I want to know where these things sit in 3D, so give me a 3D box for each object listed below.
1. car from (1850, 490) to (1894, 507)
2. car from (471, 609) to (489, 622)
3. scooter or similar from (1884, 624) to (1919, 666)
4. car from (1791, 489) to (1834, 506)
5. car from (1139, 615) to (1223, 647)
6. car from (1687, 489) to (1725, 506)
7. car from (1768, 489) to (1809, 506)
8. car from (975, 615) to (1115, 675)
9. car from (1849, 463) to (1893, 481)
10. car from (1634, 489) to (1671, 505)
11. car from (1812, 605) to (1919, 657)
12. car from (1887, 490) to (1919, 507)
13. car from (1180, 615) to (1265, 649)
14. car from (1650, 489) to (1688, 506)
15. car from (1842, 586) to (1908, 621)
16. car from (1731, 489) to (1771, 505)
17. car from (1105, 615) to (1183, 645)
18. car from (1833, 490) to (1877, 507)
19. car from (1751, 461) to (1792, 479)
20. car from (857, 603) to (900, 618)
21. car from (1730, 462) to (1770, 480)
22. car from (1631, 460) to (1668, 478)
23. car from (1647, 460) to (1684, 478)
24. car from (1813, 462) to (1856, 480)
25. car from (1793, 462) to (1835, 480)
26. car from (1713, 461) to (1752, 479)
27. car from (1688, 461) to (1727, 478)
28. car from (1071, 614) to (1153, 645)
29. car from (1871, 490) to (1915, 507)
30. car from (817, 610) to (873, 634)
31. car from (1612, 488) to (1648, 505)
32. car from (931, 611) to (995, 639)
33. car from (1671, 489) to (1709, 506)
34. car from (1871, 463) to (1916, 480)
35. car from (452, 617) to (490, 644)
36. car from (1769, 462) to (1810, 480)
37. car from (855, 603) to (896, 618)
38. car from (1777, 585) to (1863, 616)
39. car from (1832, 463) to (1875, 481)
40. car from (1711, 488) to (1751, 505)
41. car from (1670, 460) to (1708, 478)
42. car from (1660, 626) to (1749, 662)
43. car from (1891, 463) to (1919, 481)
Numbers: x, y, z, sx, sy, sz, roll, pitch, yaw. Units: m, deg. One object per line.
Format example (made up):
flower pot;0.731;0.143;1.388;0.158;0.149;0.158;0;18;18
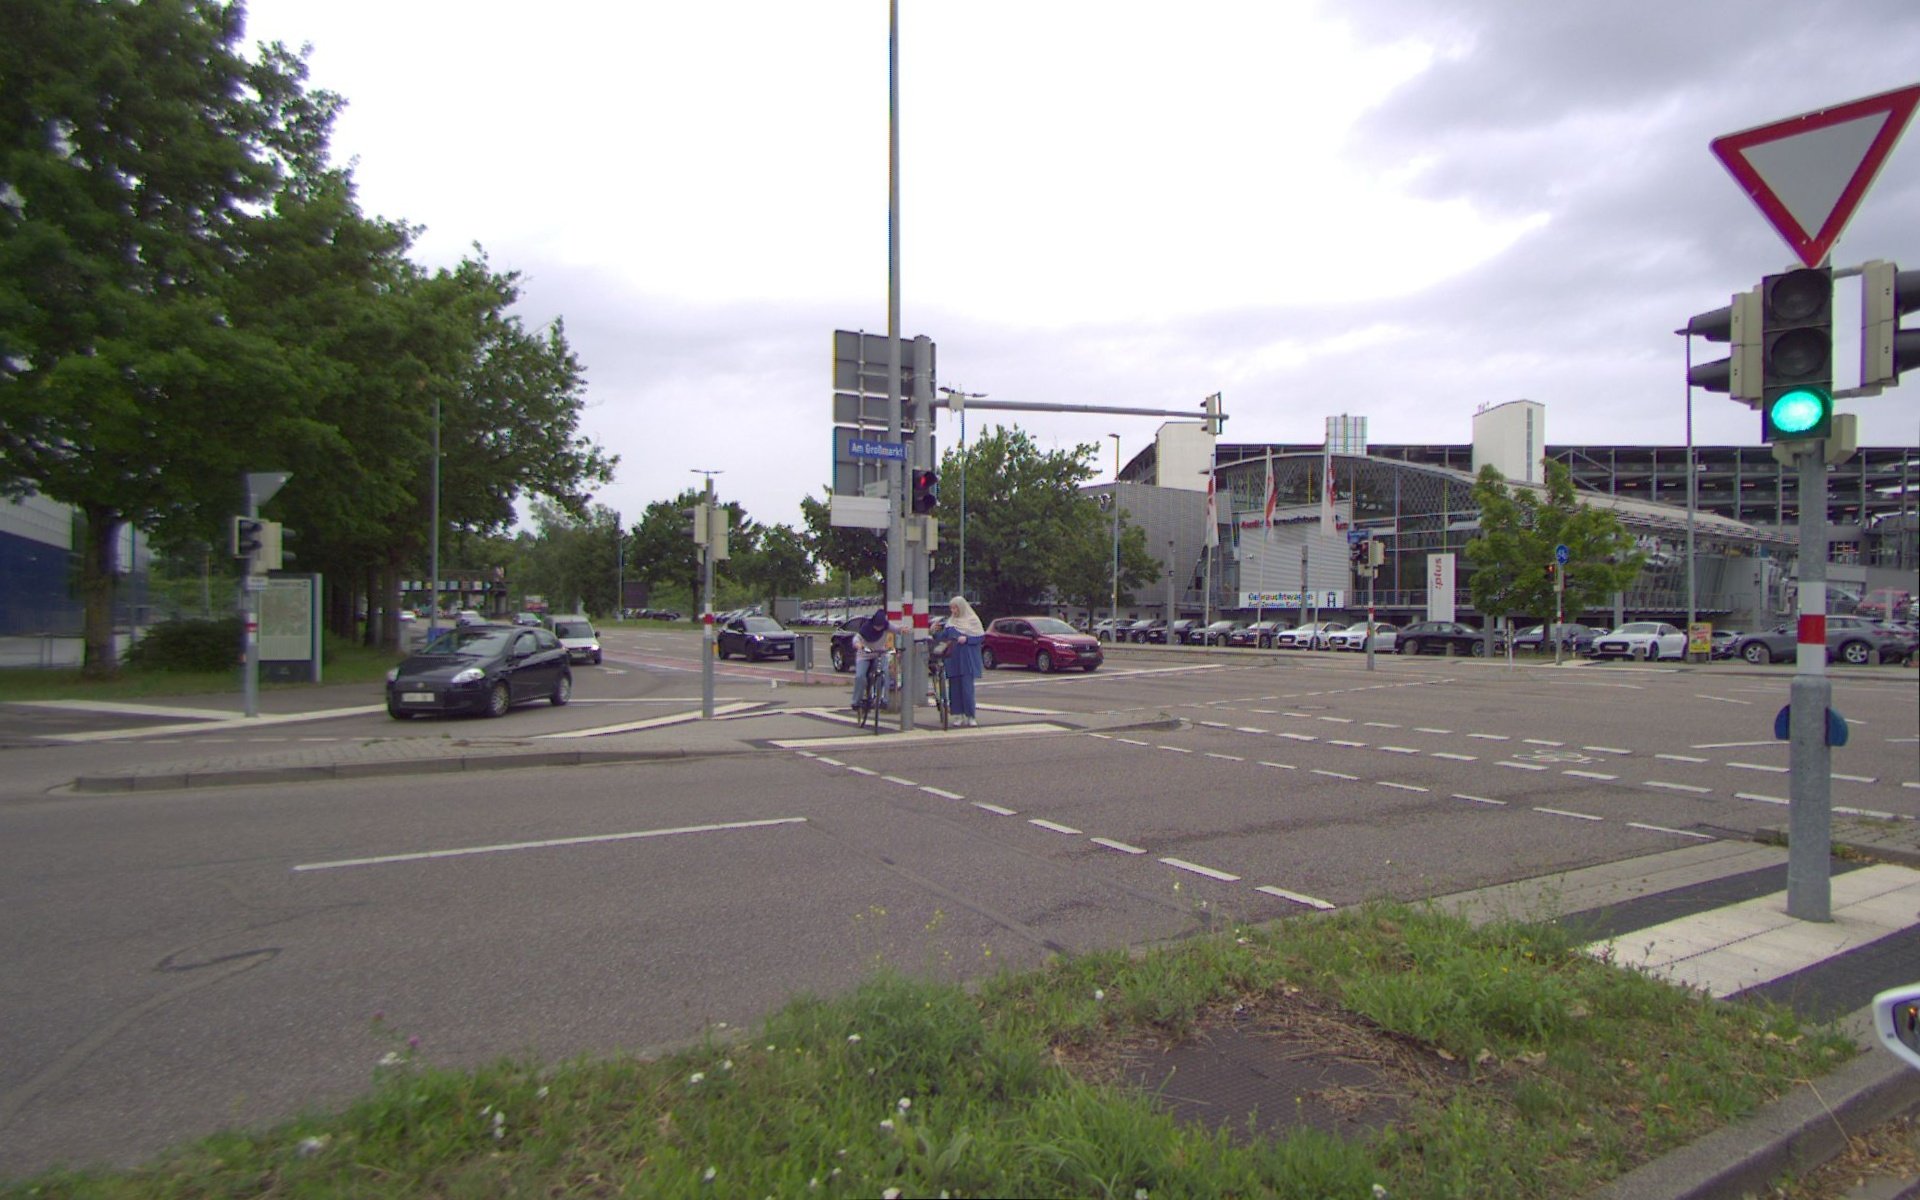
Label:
car;115.021;-12.789;126.678;1.960;1.689;4.001;1;0;2
car;-73.522;2.355;153.893;2.118;1.684;3.749;2;0;-31
scooter or similar;28.896;1.355;30.435;1.535;1.235;0.557;1;2;-17
car;107.421;-12.896;126.613;1.960;1.689;4.001;1;0;2
car;11.740;1.650;53.149;4.337;1.490;1.876;5;-3;-35
car;94.547;-13.007;127.328;1.960;1.689;4.001;1;0;2
car;104.449;-12.879;126.706;1.960;1.689;4.001;1;0;2
car;2.268;1.205;27.715;1.722;1.507;4.042;-1;-1;-33
car;115.251;-16.162;127.086;1.960;1.689;4.001;1;0;2
car;87.324;-12.982;126.736;1.960;1.689;4.001;1;0;2
car;38.099;1.291;40.985;1.981;2.040;4.740;2;-3;-36
car;119.989;-12.814;126.901;1.960;1.689;4.001;1;0;2
car;13.289;1.623;50.754;4.150;1.505;1.890;5;-3;-35
car;89.508;-12.900;126.870;1.960;1.689;4.001;1;0;2
car;53.156;0.204;58.340;3.959;1.873;1.981;2;0;-35
car;99.800;-12.982;126.794;1.960;1.689;4.001;1;0;2
car;10.154;1.682;55.379;4.127;1.409;1.884;5;-3;-35
car;112.800;-12.794;126.664;1.960;1.689;4.001;1;0;2
car;102.433;-16.377;126.870;1.960;1.689;4.001;1;0;2
car;-9.189;1.221;113.431;4.307;1.516;2.048;2;0;-36
car;99.796;-16.295;126.903;1.960;1.689;4.001;1;0;2
car;87.213;-16.517;127.121;1.960;1.689;4.001;1;0;2
car;89.430;-16.582;127.322;1.960;1.689;4.001;1;0;2
car;110.253;-16.234;126.680;1.960;1.689;4.001;1;0;2
car;107.632;-16.256;126.689;1.960;1.689;4.001;1;0;2
car;97.524;-16.385;126.880;1.960;1.689;4.001;1;0;2
car;94.459;-16.485;126.994;1.960;1.689;4.001;1;0;2
car;8.730;1.702;57.640;4.618;1.491;1.830;4;-2;-35
car;117.787;-12.820;126.861;1.960;1.689;4.001;1;0;2
car;-9.950;1.910;87.086;4.364;1.539;1.981;8;-3;-33
car;84.717;-13.087;127.022;1.960;1.689;4.001;1;0;2
car;0.241;1.811;71.903;4.182;1.504;1.808;9;-3;-35
car;92.341;-12.957;127.044;1.960;1.689;4.001;1;0;2
car;117.874;-16.221;126.886;1.960;1.689;4.001;1;0;2
car;-29.403;1.813;60.357;1.683;1.507;4.083;0;-1;-32
car;104.608;-16.282;126.685;1.960;1.689;4.001;1;0;2
car;-9.769;1.182;115.890;4.307;1.516;1.950;2;0;-36
car;56.356;0.024;65.879;1.741;1.862;3.964;2;0;-33
car;113.007;-16.169;127.080;1.960;1.689;4.001;1;0;2
car;97.340;-13.013;126.873;1.960;1.689;4.001;1;0;2
car;92.249;-16.573;127.151;1.960;1.689;4.001;1;0;2
car;44.716;2.623;60.383;1.743;1.862;3.959;2;0;-36
car;120.348;-16.118;126.746;1.960;1.689;4.001;1;0;2
